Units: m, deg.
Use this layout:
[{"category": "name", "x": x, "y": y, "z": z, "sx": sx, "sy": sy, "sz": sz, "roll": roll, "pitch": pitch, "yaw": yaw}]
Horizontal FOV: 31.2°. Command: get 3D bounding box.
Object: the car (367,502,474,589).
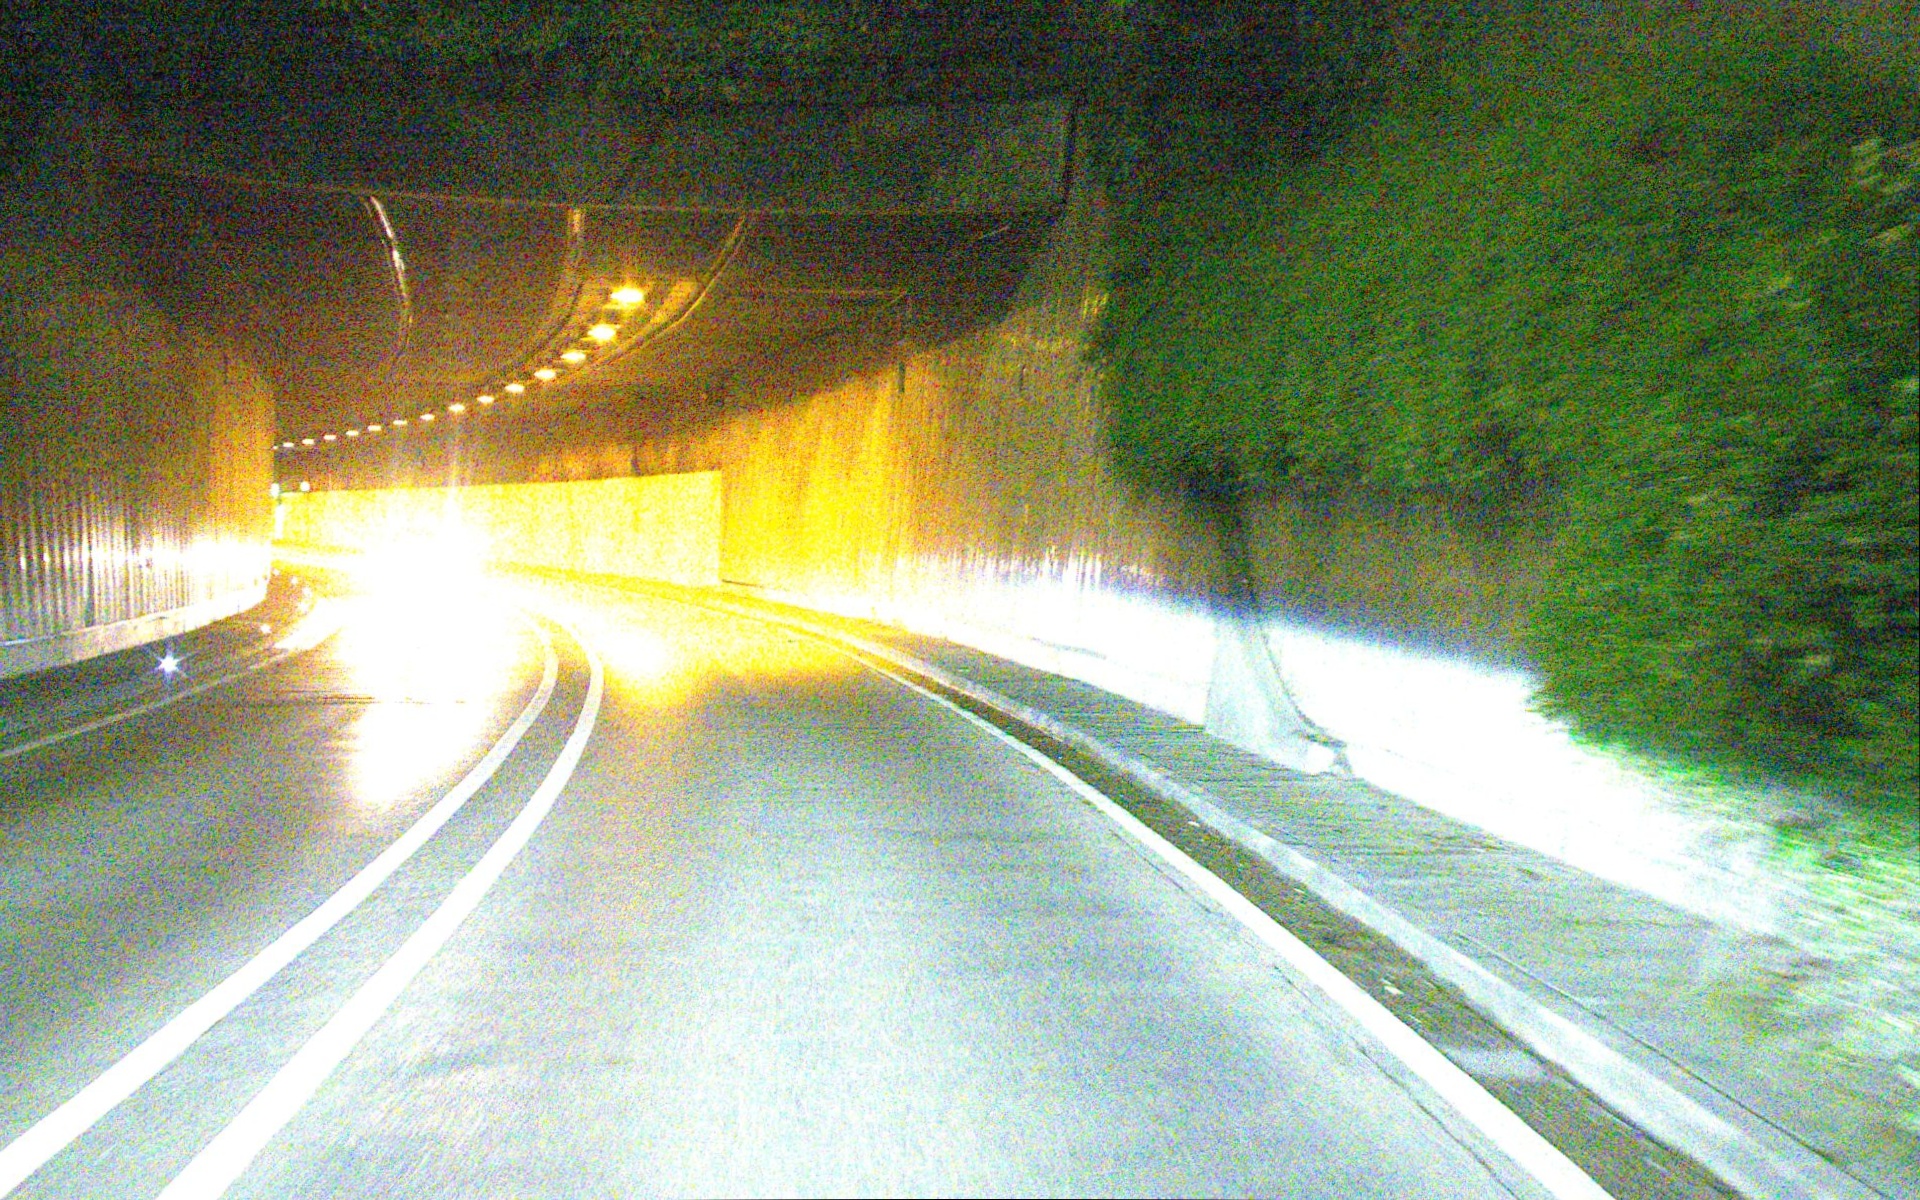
[{"category": "car", "x": -12.095, "y": -1.230, "z": 76.874, "sx": 1.993, "sy": 1.734, "sz": 4.001, "roll": 5, "pitch": 0, "yaw": -12}]
